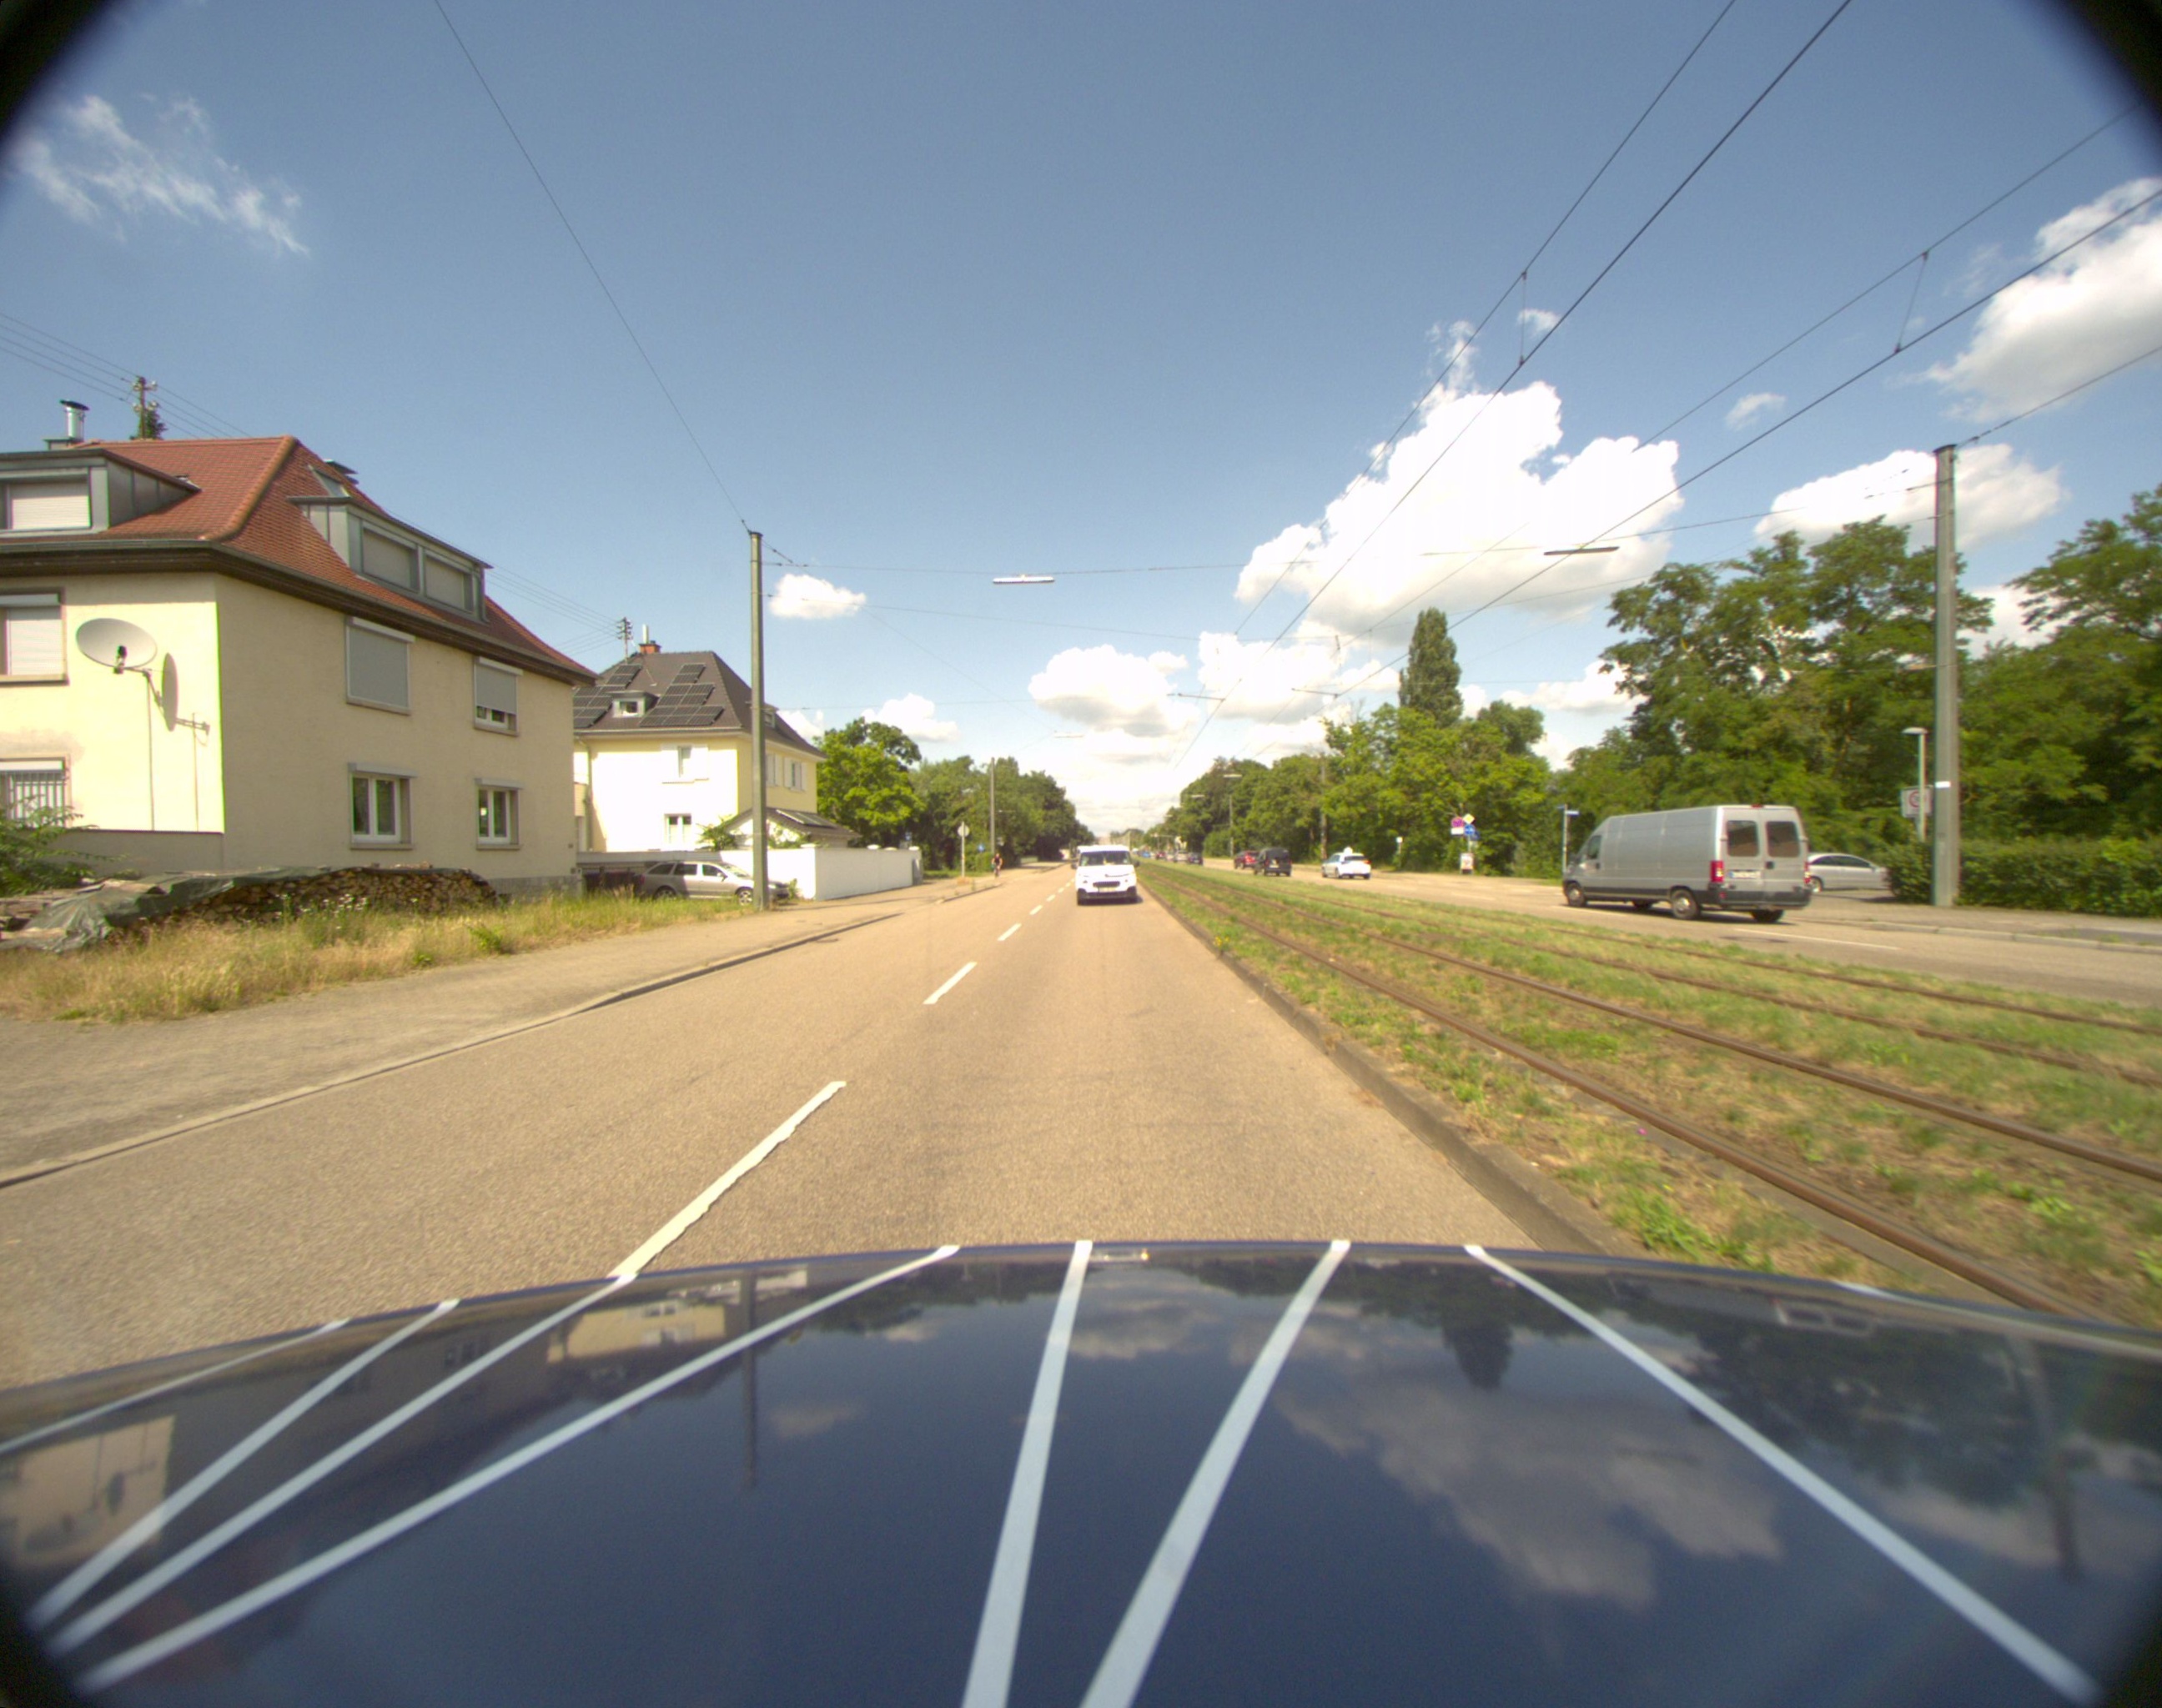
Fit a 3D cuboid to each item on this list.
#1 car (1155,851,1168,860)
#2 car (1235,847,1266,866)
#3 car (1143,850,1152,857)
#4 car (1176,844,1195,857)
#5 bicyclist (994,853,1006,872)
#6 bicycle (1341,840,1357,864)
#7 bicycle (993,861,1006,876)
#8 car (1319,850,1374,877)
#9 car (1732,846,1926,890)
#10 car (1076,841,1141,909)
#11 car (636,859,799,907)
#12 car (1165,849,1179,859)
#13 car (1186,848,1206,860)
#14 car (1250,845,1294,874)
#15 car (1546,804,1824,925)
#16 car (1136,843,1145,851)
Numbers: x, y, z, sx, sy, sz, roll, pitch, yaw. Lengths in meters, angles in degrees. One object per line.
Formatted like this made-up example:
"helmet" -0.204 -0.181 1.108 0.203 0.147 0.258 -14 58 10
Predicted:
"car" 14.956 0.256 141.102 2.121 1.642 4.277 -1 0 3
"car" 14.739 0.160 66.391 1.731 1.570 4.276 -1 0 0
"car" 16.563 -0.189 189.154 2.121 1.642 4.277 -1 0 3
"car" 14.245 -0.501 103.740 2.121 1.642 4.277 -1 0 3
"bicyclist" -5.795 0.623 54.102 0.690 1.345 0.665 -1 1 8
"bicycle" 19.158 -0.161 54.272 0.801 1.675 0.952 -1 1 2
"bicycle" -5.777 1.016 54.184 0.556 1.059 1.524 -1 1 8
"car" 14.897 0.513 42.903 1.689 1.422 4.276 -1 0 1
"car" 25.778 0.472 26.355 4.466 1.397 2.001 -1 1 9
"car" 0.760 0.583 23.841 1.777 1.850 4.374 -2 1 -1
"car" -11.685 0.918 24.616 4.459 1.452 1.763 0 1 2
"car" 14.715 0.006 122.725 1.921 1.642 4.277 -1 0 3
"car" 13.021 -0.016 86.249 1.731 1.386 4.277 -1 0 3
"car" 11.809 0.315 47.229 1.689 1.736 4.227 -1 1 1
"car" 14.034 0.194 18.318 2.037 2.422 5.776 1 1 0
"car" 16.850 -1.973 216.073 1.999 2.002 3.999 -3 1 0
